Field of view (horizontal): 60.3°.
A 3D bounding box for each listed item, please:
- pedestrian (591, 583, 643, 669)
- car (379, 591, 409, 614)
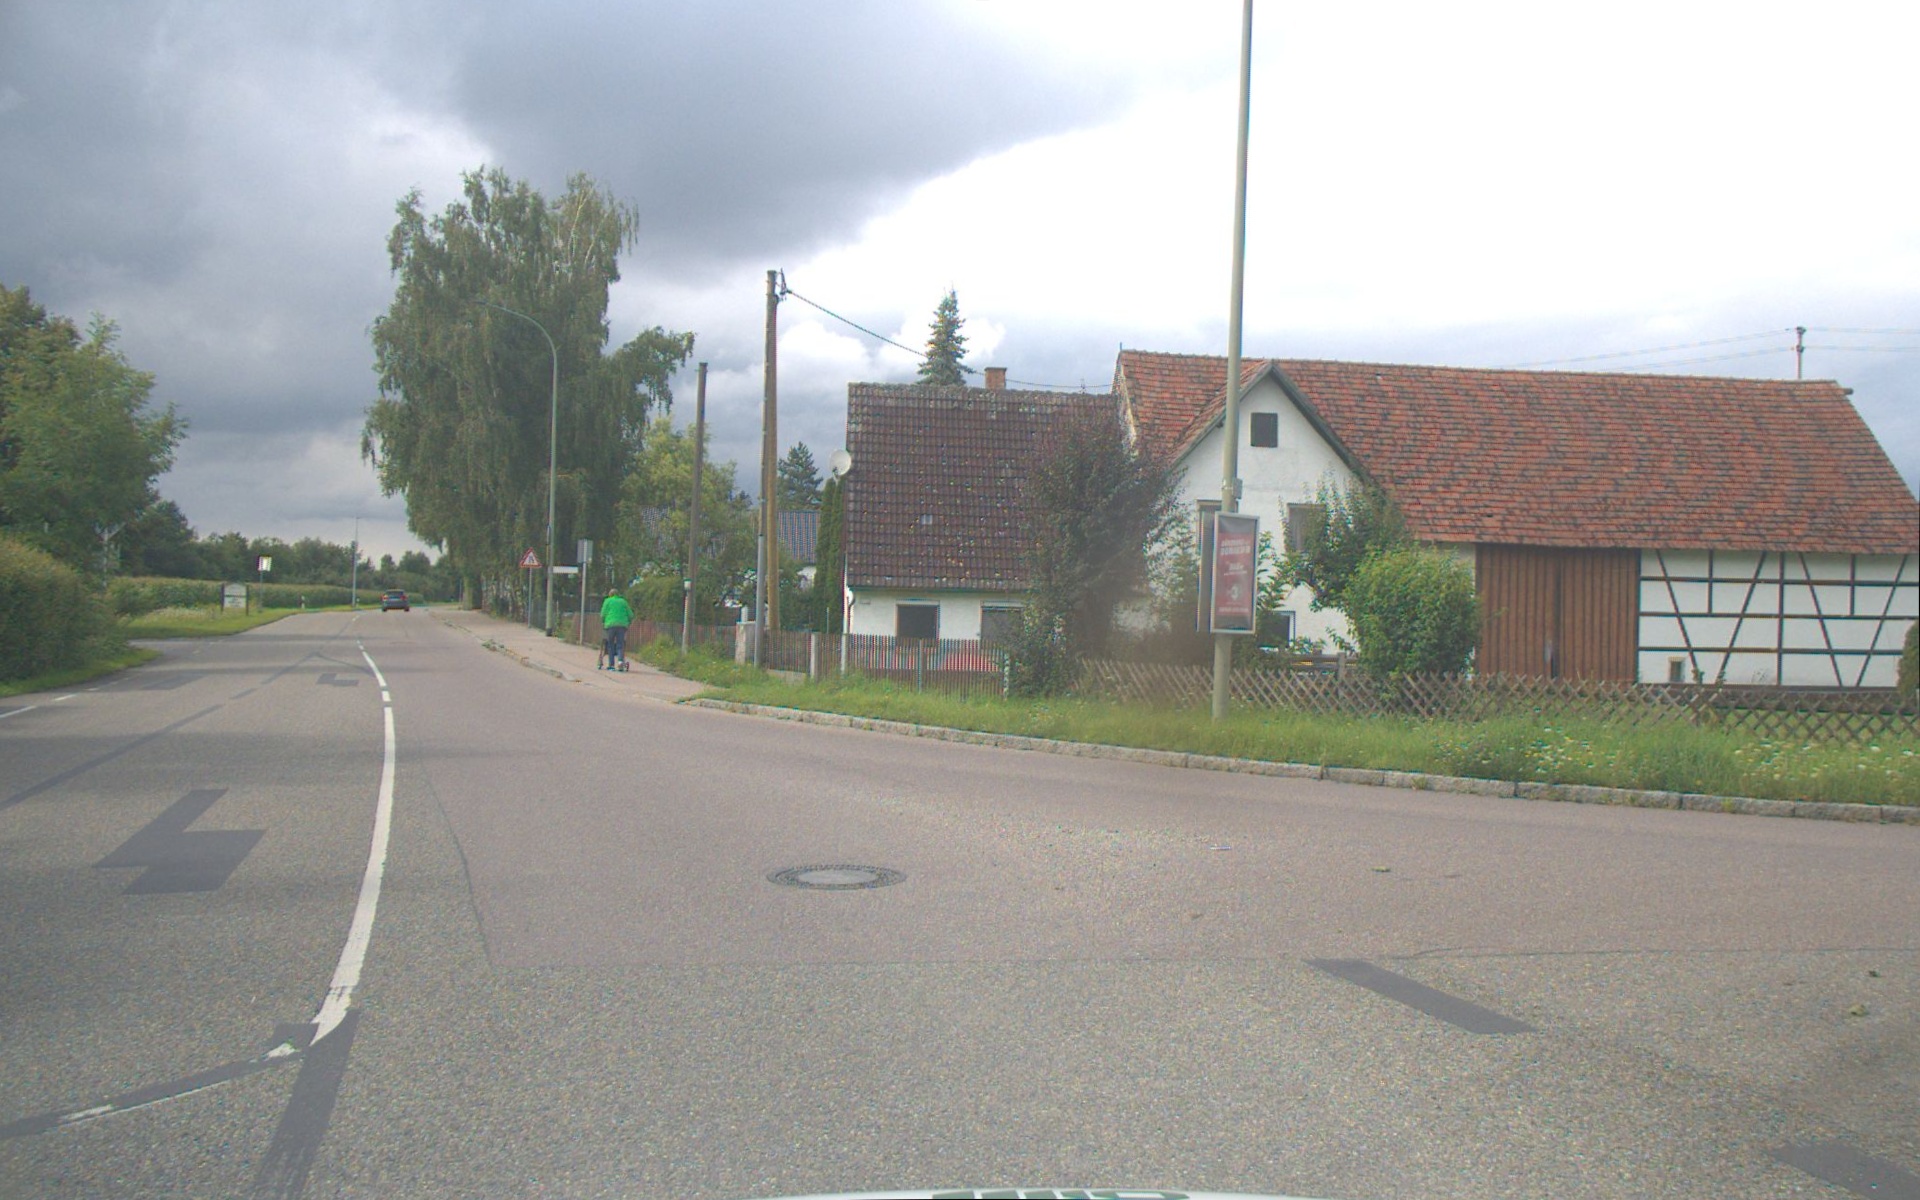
[{"bbox_3d":[-7.082,0.539,34.160,0.778,1.694,0.707,6,-2,-23],"label":"pedestrian"},{"bbox_3d":[-41.332,0.160,120.706,1.964,1.579,3.977,2,0,-20],"label":"car"}]
